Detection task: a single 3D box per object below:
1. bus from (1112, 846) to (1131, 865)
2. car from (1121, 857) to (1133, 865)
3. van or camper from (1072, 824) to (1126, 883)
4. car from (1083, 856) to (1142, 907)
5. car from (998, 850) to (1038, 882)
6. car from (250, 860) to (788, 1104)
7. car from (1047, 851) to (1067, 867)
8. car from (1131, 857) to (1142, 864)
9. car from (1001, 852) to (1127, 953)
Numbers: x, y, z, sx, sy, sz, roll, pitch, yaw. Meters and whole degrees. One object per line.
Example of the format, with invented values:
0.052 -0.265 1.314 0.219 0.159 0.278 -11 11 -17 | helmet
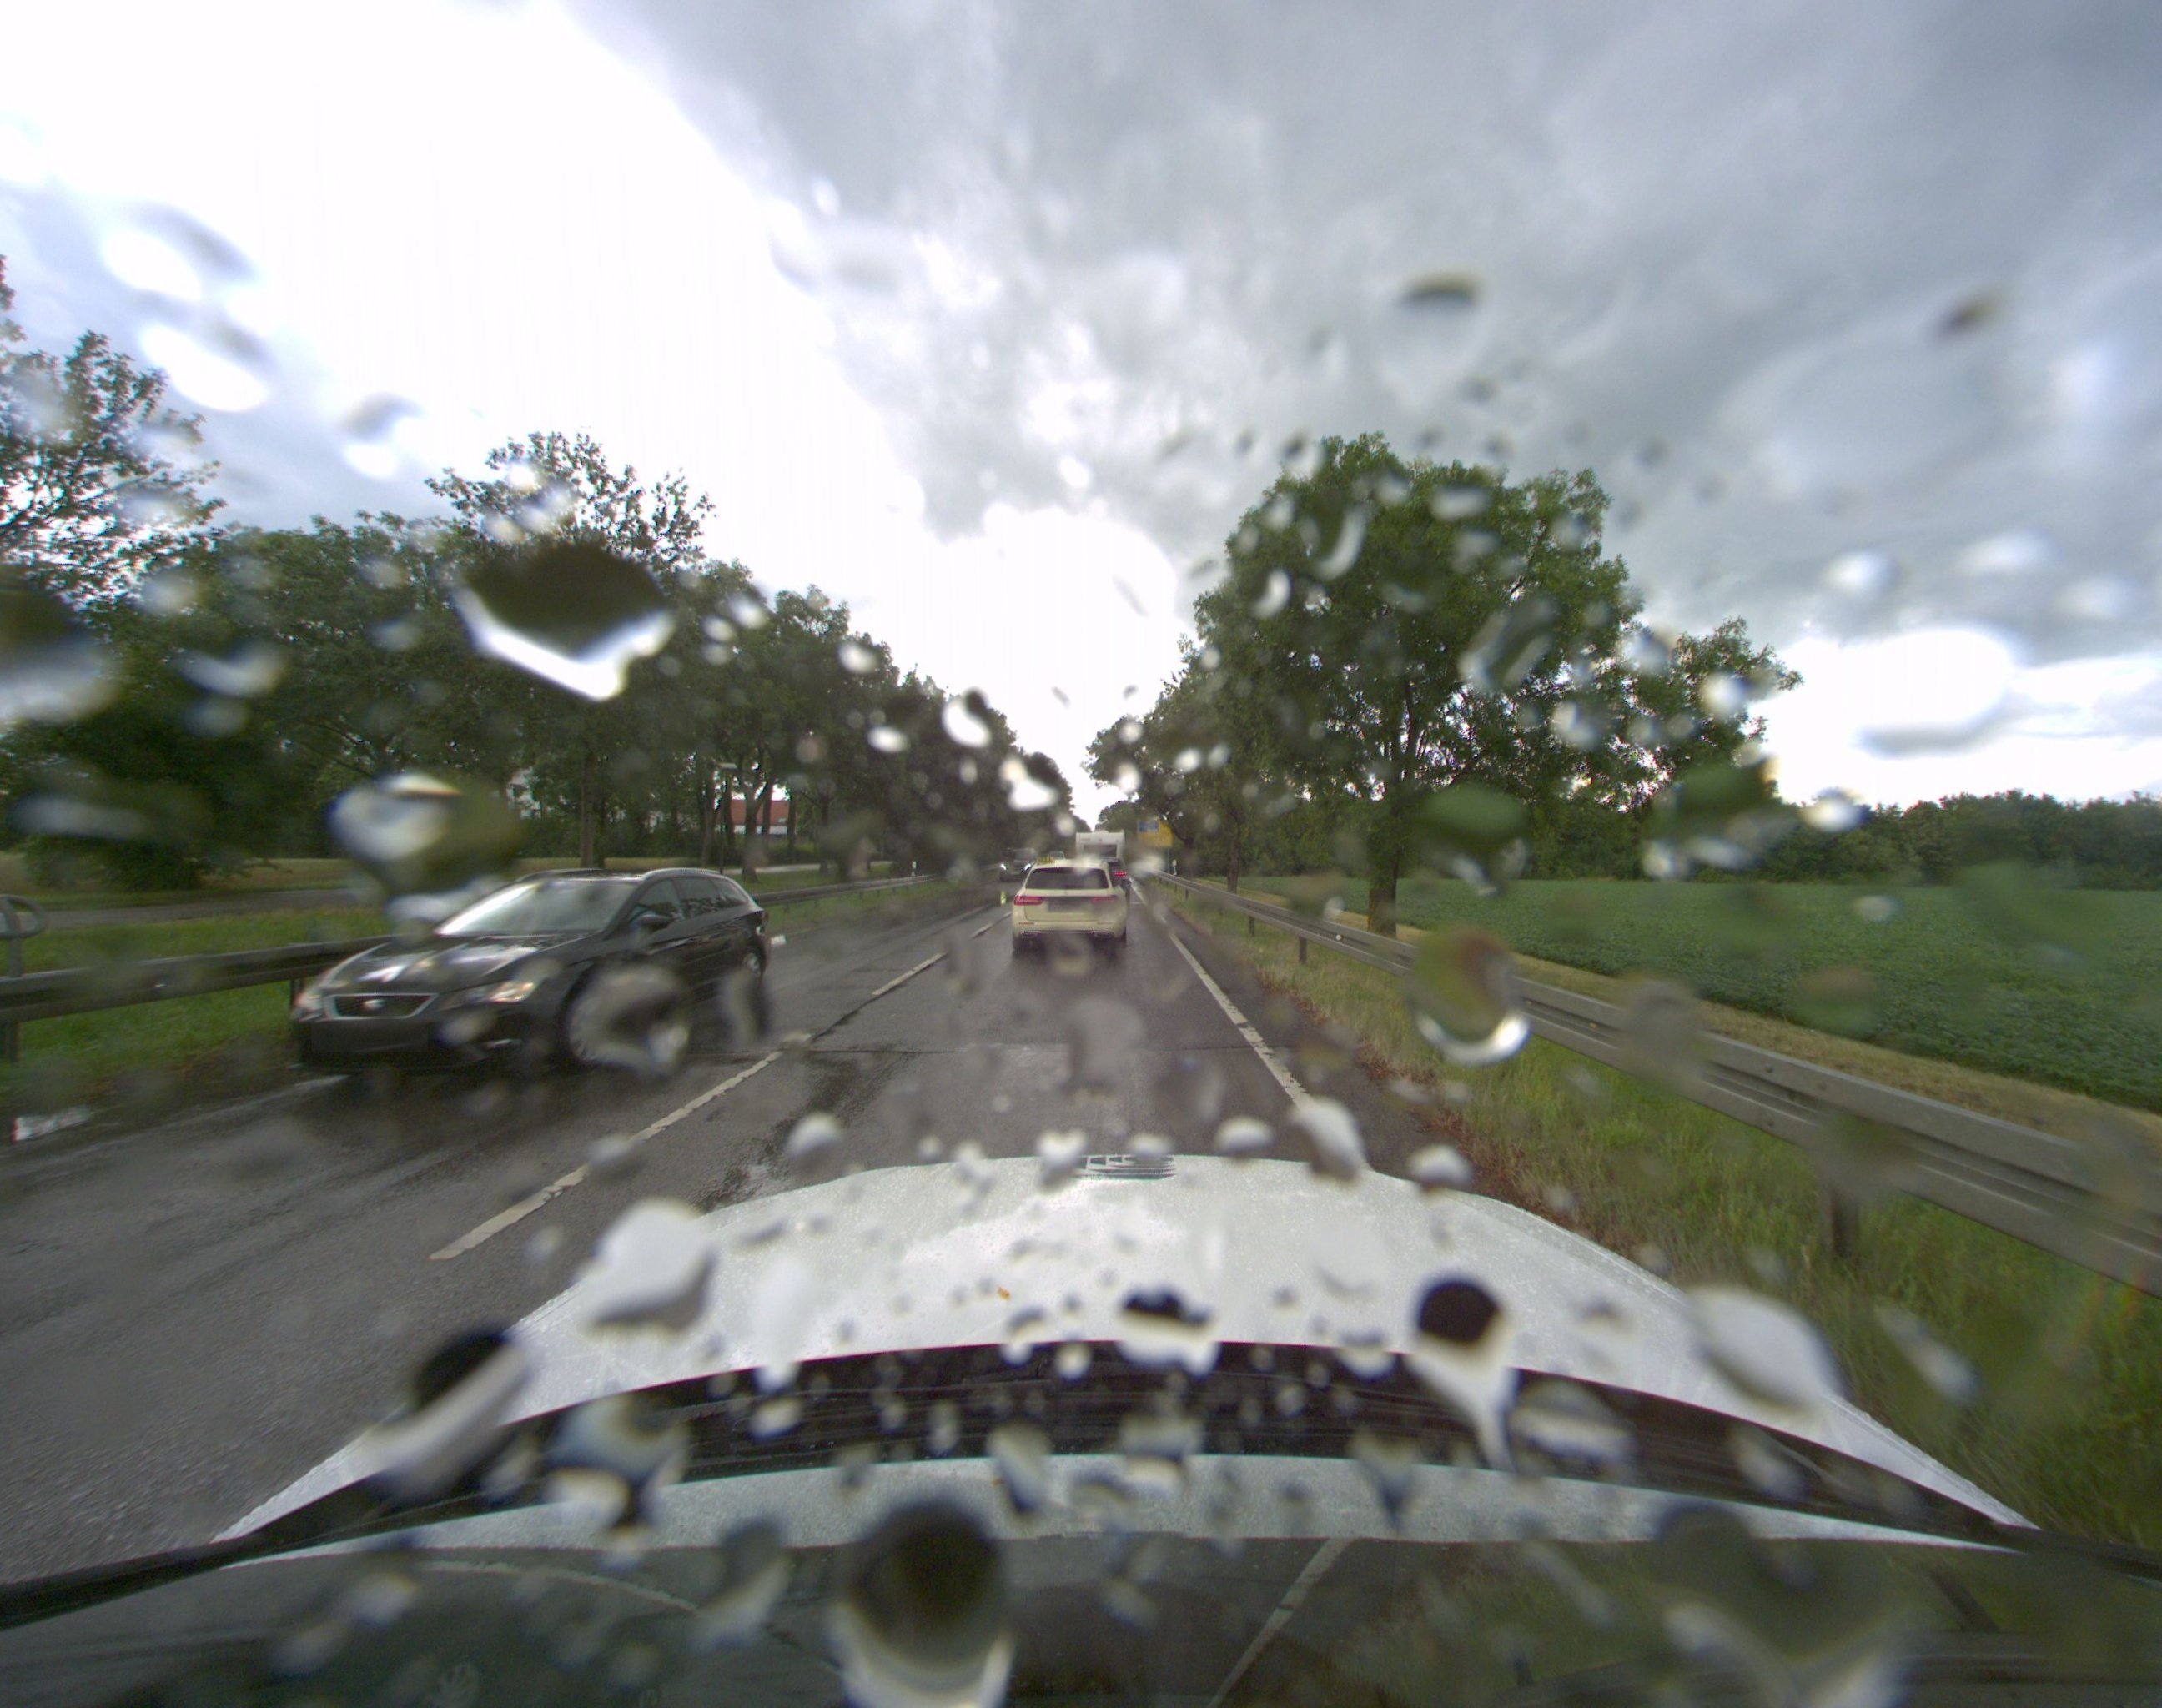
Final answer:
4.432 0.157 89.177 1.986 2.013 4.001 -1 0 1 | bus
6.389 0.946 112.789 1.546 1.118 4.001 0 -1 1 | car
0.961 -0.013 40.127 2.479 2.685 5.705 0 0 3 | van or camper
1.018 0.786 25.338 1.657 1.430 4.003 -1 0 3 | car
-3.623 0.673 47.649 1.821 1.803 4.416 -1 0 1 | car
-4.197 0.802 7.056 1.708 1.451 4.112 0 0 2 | car
-2.250 0.459 75.847 1.622 1.438 3.961 0 0 2 | car
8.291 0.951 122.027 1.545 1.118 4.003 0 -1 3 | car
-0.154 0.724 14.102 1.857 1.476 4.003 -1 0 3 | car
